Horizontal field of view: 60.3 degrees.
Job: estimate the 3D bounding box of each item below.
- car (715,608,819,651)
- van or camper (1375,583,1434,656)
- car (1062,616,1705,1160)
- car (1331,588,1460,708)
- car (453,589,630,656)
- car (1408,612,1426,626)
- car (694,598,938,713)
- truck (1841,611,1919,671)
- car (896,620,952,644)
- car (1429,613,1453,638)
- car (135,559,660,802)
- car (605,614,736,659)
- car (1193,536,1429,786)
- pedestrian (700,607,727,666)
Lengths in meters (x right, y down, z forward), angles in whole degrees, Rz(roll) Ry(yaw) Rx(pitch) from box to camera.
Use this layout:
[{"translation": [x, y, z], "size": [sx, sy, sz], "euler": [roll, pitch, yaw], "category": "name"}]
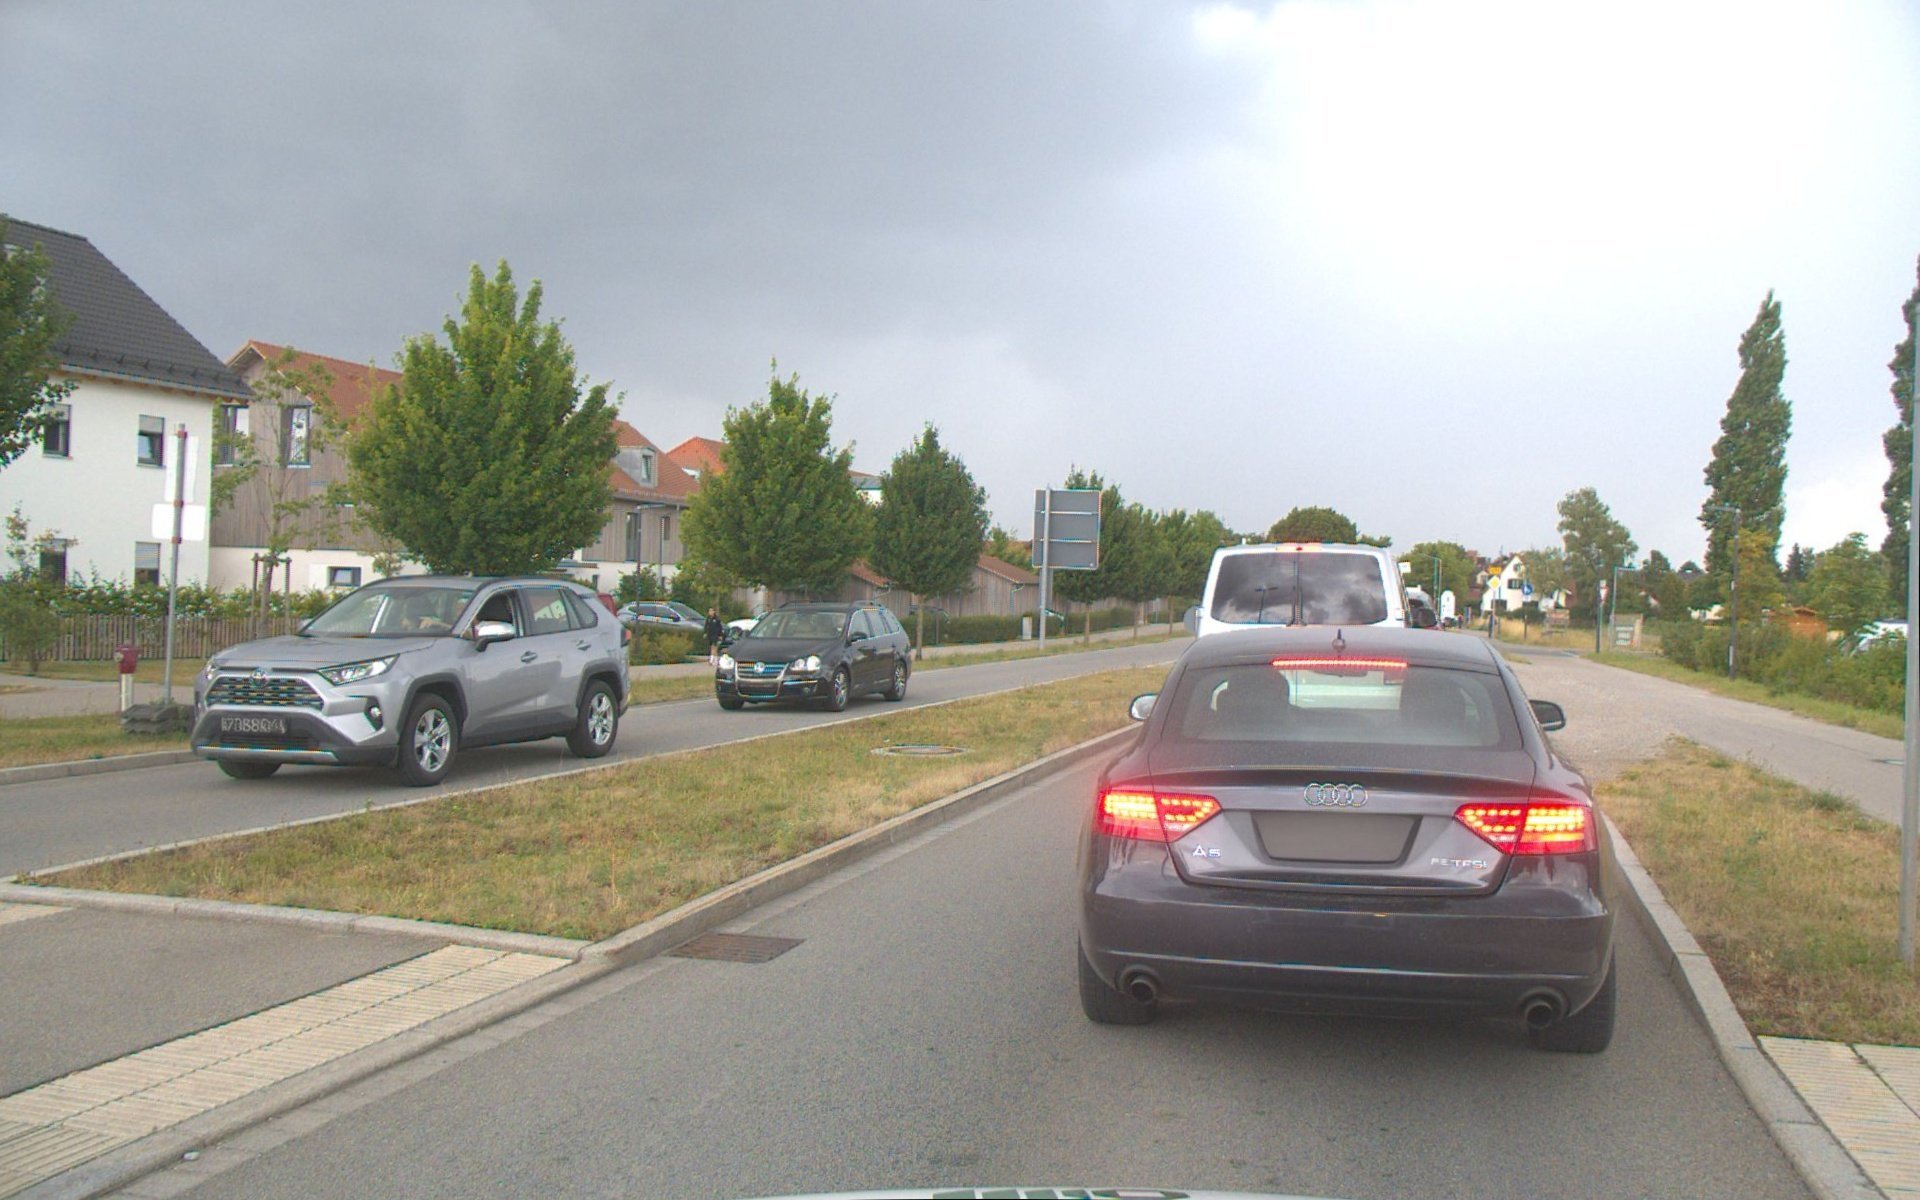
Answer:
[{"translation": [-7.515, 1.135, 64.448], "size": [3.650, 1.508, 1.688], "euler": [2, 0, 13], "category": "car"}, {"translation": [21.960, 0.990, 81.801], "size": [2.569, 3.381, 6.825], "euler": [2, -1, 15], "category": "van or camper"}, {"translation": [1.637, 0.800, 6.690], "size": [1.746, 1.416, 4.136], "euler": [1, 0, 13], "category": "car"}, {"translation": [6.632, 0.675, 25.155], "size": [1.739, 1.646, 4.003], "euler": [1, 0, 15], "category": "car"}, {"translation": [-11.836, 0.624, 46.836], "size": [4.436, 1.709, 2.001], "euler": [2, 0, 19], "category": "car"}, {"translation": [45.538, 1.920, 164.770], "size": [1.579, 1.294, 3.463], "euler": [2, 0, 16], "category": "car"}, {"translation": [-1.911, 0.724, 23.503], "size": [1.717, 1.441, 4.456], "euler": [1, 0, 20], "category": "car"}, {"translation": [32.101, 1.409, 54.826], "size": [4.694, 1.905, 2.002], "euler": [2, 0, 11], "category": "truck"}, {"translation": [-1.701, 1.509, 78.453], "size": [2.419, 1.046, 1.186], "euler": [2, 0, 10], "category": "car"}, {"translation": [34.148, 1.815, 117.429], "size": [1.579, 1.659, 3.618], "euler": [2, 0, 16], "category": "car"}, {"translation": [-4.552, 0.587, 14.288], "size": [1.951, 1.733, 4.637], "euler": [0, 0, 17], "category": "car"}, {"translation": [-9.592, 1.186, 54.927], "size": [3.831, 1.338, 1.844], "euler": [2, 0, 13], "category": "car"}, {"translation": [3.249, 0.474, 15.194], "size": [1.827, 1.968, 4.003], "euler": [1, 0, 13], "category": "car"}, {"translation": [-6.714, 0.984, 45.068], "size": [0.569, 1.586, 0.660], "euler": [2, 0, 1], "category": "pedestrian"}]
